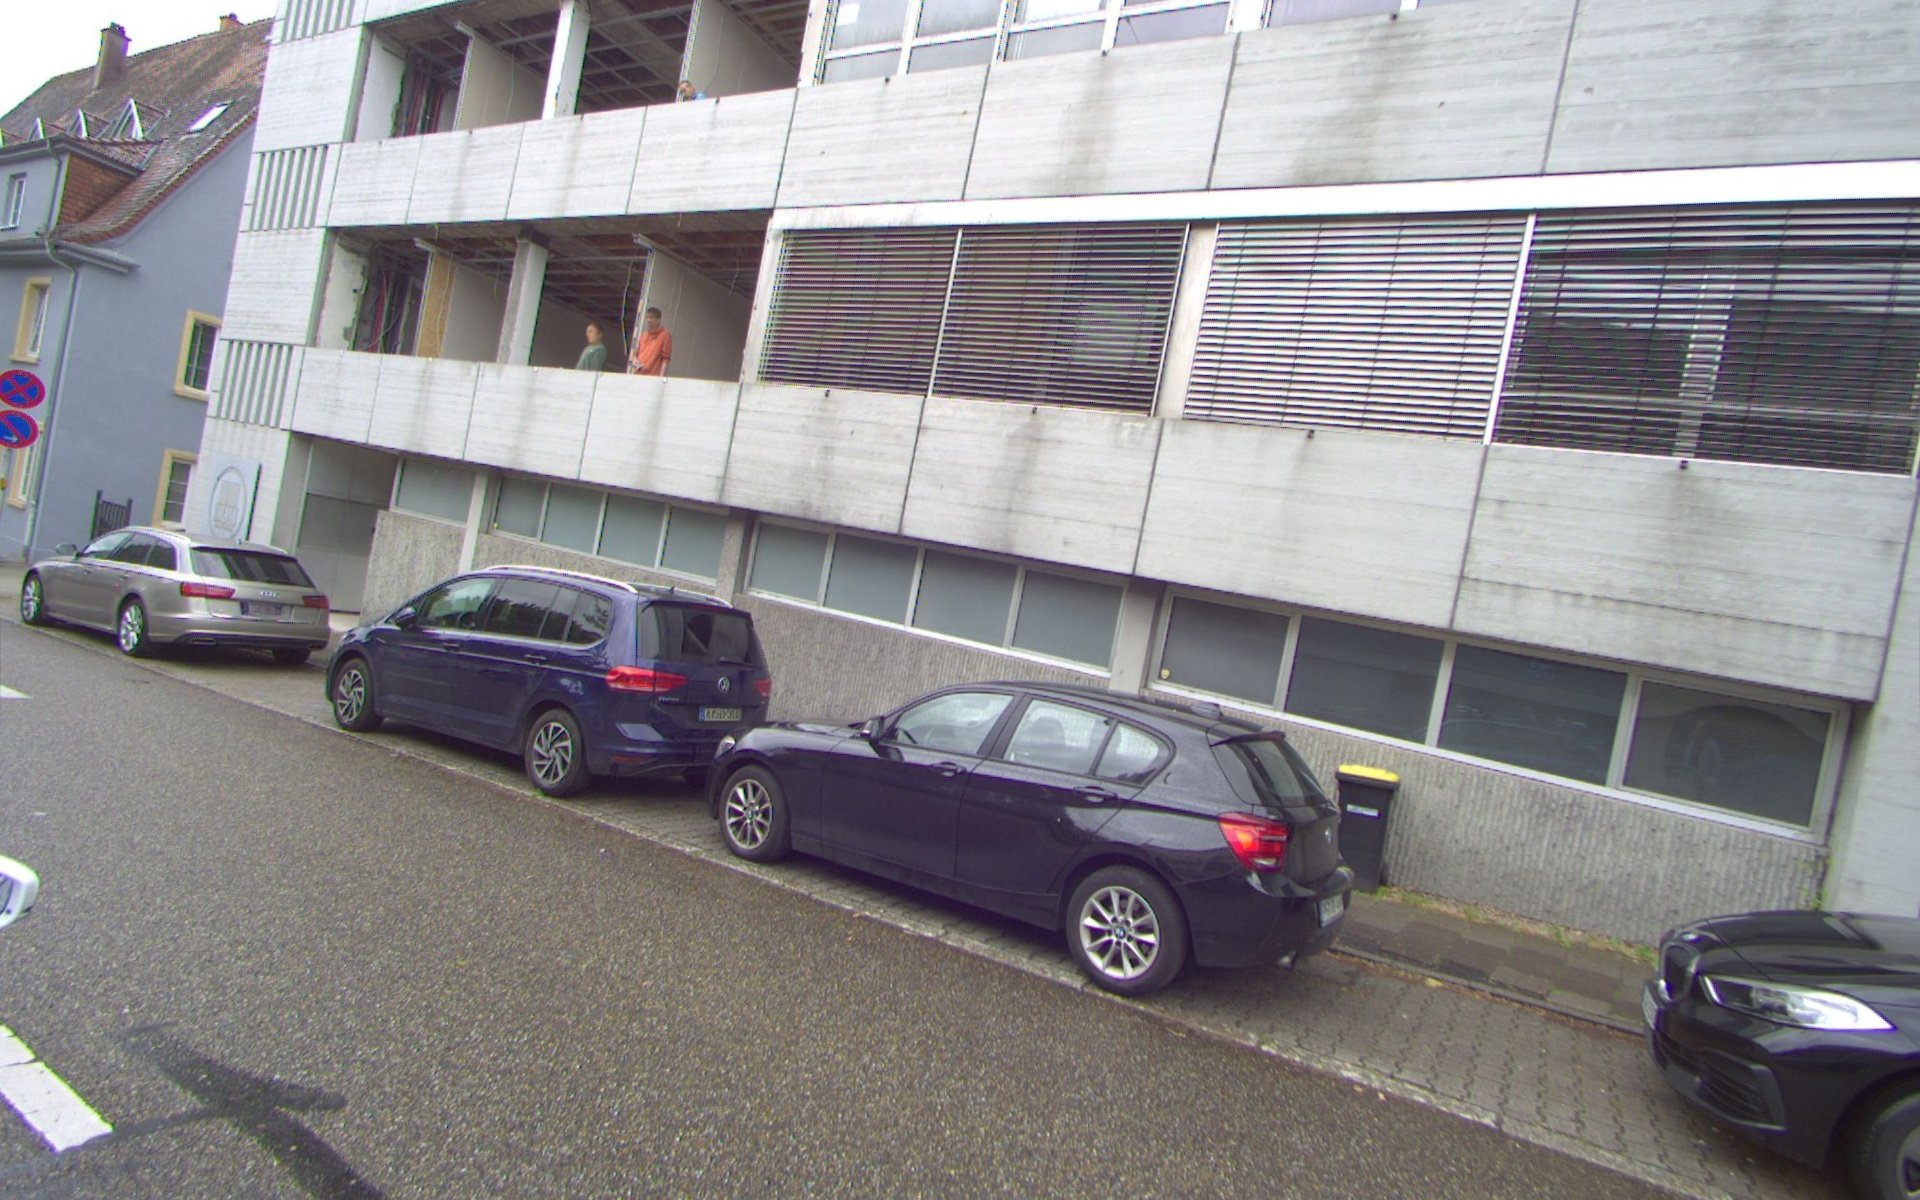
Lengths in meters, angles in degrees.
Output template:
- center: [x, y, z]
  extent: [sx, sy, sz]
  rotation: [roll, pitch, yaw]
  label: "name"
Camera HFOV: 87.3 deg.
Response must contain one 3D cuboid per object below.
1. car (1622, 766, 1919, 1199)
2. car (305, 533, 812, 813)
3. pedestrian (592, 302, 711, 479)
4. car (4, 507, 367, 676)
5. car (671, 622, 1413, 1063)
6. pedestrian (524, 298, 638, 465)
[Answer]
- center: [5.096, 1.778, 3.516]
  extent: [4.367, 1.452, 1.997]
  rotation: [7, -1, 30]
  label: "car"
- center: [-3.513, 0.511, 8.636]
  extent: [4.090, 1.618, 1.732]
  rotation: [7, -1, 30]
  label: "car"
- center: [-4.002, -2.689, 13.103]
  extent: [0.847, 2.036, 0.909]
  rotation: [6, -2, 31]
  label: "pedestrian"
- center: [-9.792, -0.128, 12.662]
  extent: [4.449, 1.465, 1.966]
  rotation: [7, -1, 30]
  label: "car"
- center: [0.345, 1.168, 6.295]
  extent: [4.183, 1.465, 1.750]
  rotation: [7, -1, 34]
  label: "car"
- center: [-5.237, -2.991, 13.942]
  extent: [0.847, 2.036, 0.909]
  rotation: [6, -2, 31]
  label: "pedestrian"
